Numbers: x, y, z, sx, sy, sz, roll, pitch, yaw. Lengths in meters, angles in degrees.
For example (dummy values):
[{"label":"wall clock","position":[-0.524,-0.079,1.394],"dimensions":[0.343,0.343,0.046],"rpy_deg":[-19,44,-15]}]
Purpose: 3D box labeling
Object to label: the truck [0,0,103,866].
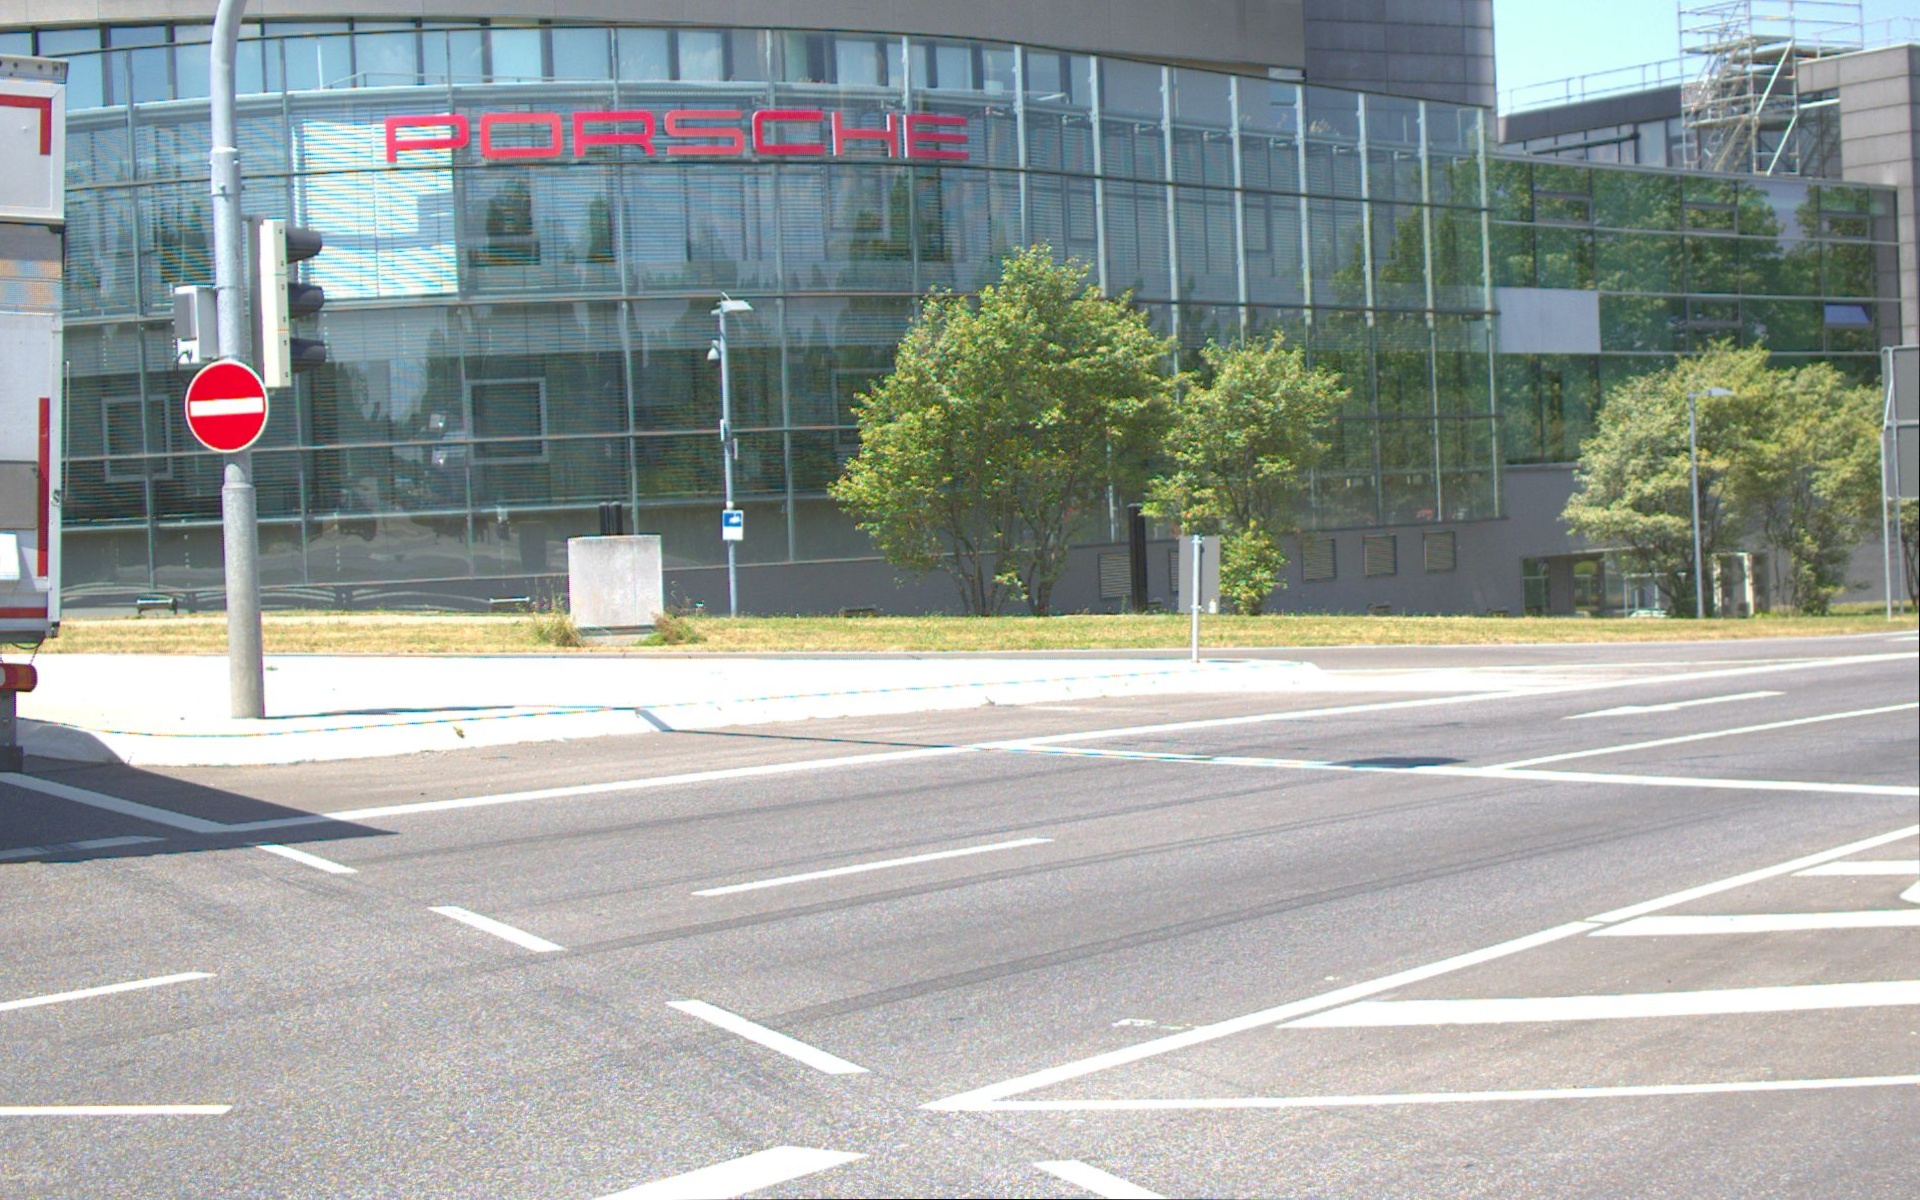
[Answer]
[{"label":"truck","position":[-7.360,-0.827,18.703],"dimensions":[2.769,3.846,9.371],"rpy_deg":[-1,2,-30]}]
